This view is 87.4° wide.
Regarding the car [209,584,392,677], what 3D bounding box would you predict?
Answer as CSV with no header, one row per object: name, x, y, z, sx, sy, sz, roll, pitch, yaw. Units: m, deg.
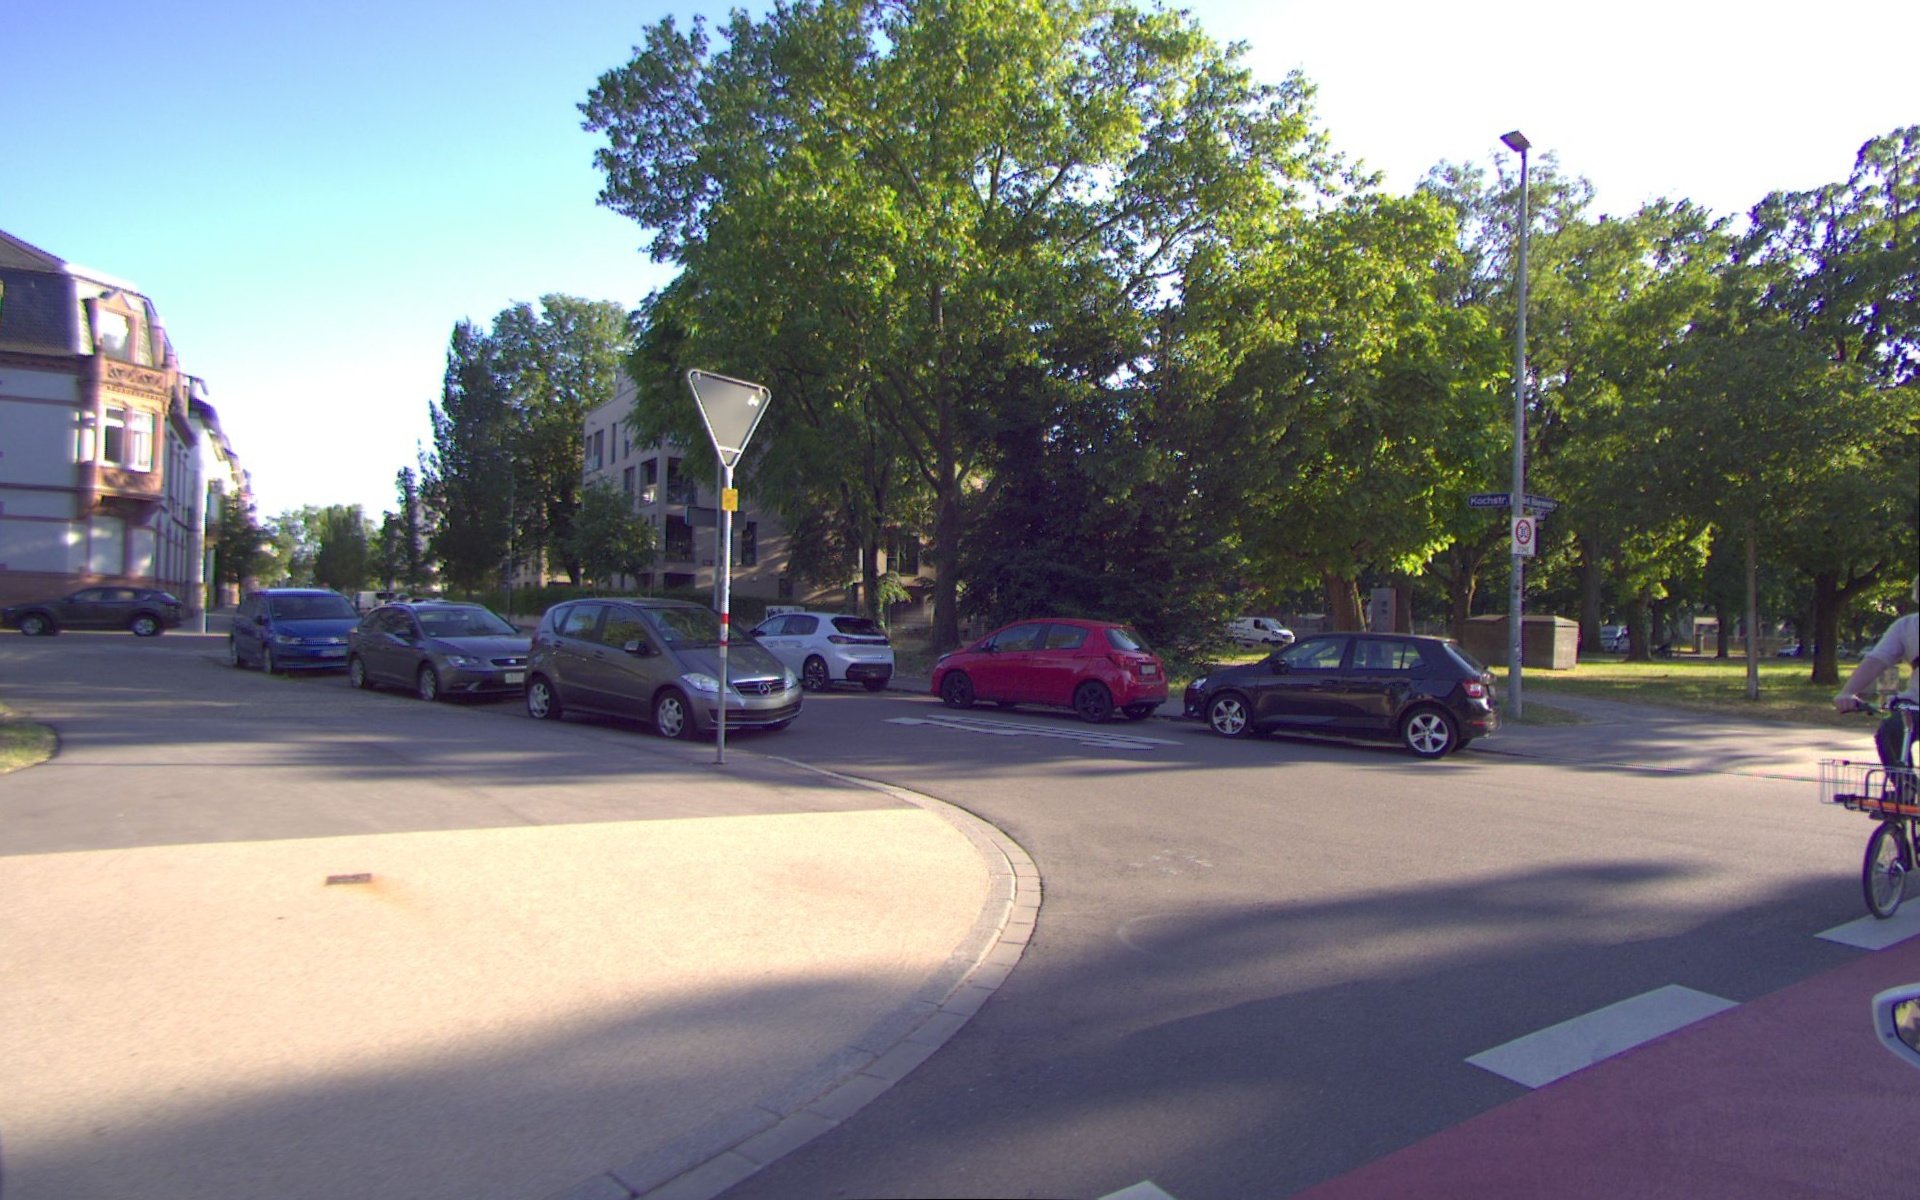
car,-13.205,0.572,20.028,4.211,1.665,1.832,1,-2,39

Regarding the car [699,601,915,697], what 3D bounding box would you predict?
car,-3.011,0.914,19.438,3.937,1.594,1.884,2,-2,38

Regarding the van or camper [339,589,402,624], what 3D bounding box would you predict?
van or camper,-48.762,0.527,83.103,5.975,2.584,2.073,2,-2,35

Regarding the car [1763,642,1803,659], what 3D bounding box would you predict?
car,84.347,5.181,102.955,3.955,1.528,1.983,3,-2,-31

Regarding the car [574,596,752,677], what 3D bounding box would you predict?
car,-6.767,0.797,22.740,3.938,1.594,1.883,2,-3,39

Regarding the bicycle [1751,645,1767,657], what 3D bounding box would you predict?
bicycle,82.450,5.295,103.596,2.310,1.191,0.652,3,-2,-35

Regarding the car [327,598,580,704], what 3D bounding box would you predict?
car,-8.011,0.734,15.763,4.208,1.419,1.833,1,-2,37

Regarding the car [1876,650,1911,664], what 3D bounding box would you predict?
car,110.239,6.777,118.619,4.069,1.528,1.983,3,-2,-31

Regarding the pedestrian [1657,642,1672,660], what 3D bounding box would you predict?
pedestrian,40.954,2.953,58.415,0.605,1.000,0.544,3,-2,-38

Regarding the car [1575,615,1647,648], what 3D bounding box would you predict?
car,54.093,2.660,83.403,6.252,2.496,2.704,3,-2,-33

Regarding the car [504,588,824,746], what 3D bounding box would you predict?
car,-3.744,0.741,12.541,3.783,1.652,1.834,1,-2,35

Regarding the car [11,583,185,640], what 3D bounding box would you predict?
car,-28.069,0.401,32.902,3.955,1.594,1.875,5,-2,-31

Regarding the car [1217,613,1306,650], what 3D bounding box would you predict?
car,19.420,2.015,64.975,2.651,2.142,4.921,2,0,-34

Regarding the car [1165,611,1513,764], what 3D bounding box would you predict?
car,4.953,1.061,13.262,3.932,1.594,1.886,2,-2,34

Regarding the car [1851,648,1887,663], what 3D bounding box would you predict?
car,103.368,6.284,114.266,4.069,1.528,1.983,3,-2,-31

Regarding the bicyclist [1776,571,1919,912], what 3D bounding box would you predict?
bicyclist,5.216,0.730,5.423,0.893,1.725,0.934,2,-1,-25

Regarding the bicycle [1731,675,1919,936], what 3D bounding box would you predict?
bicycle,5.171,1.012,5.414,2.076,1.150,0.736,2,-1,-26

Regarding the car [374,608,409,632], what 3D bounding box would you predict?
car,-42.081,1.498,74.324,1.872,1.594,3.961,5,-2,-35

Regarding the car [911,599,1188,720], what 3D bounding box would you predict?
car,1.392,0.897,16.035,3.932,1.594,1.886,2,-2,34

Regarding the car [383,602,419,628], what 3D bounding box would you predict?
car,-37.246,0.990,66.863,1.870,1.594,3.966,4,-2,-31

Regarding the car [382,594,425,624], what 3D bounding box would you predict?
car,-32.449,0.527,58.532,1.871,1.594,3.964,4,-2,-33
